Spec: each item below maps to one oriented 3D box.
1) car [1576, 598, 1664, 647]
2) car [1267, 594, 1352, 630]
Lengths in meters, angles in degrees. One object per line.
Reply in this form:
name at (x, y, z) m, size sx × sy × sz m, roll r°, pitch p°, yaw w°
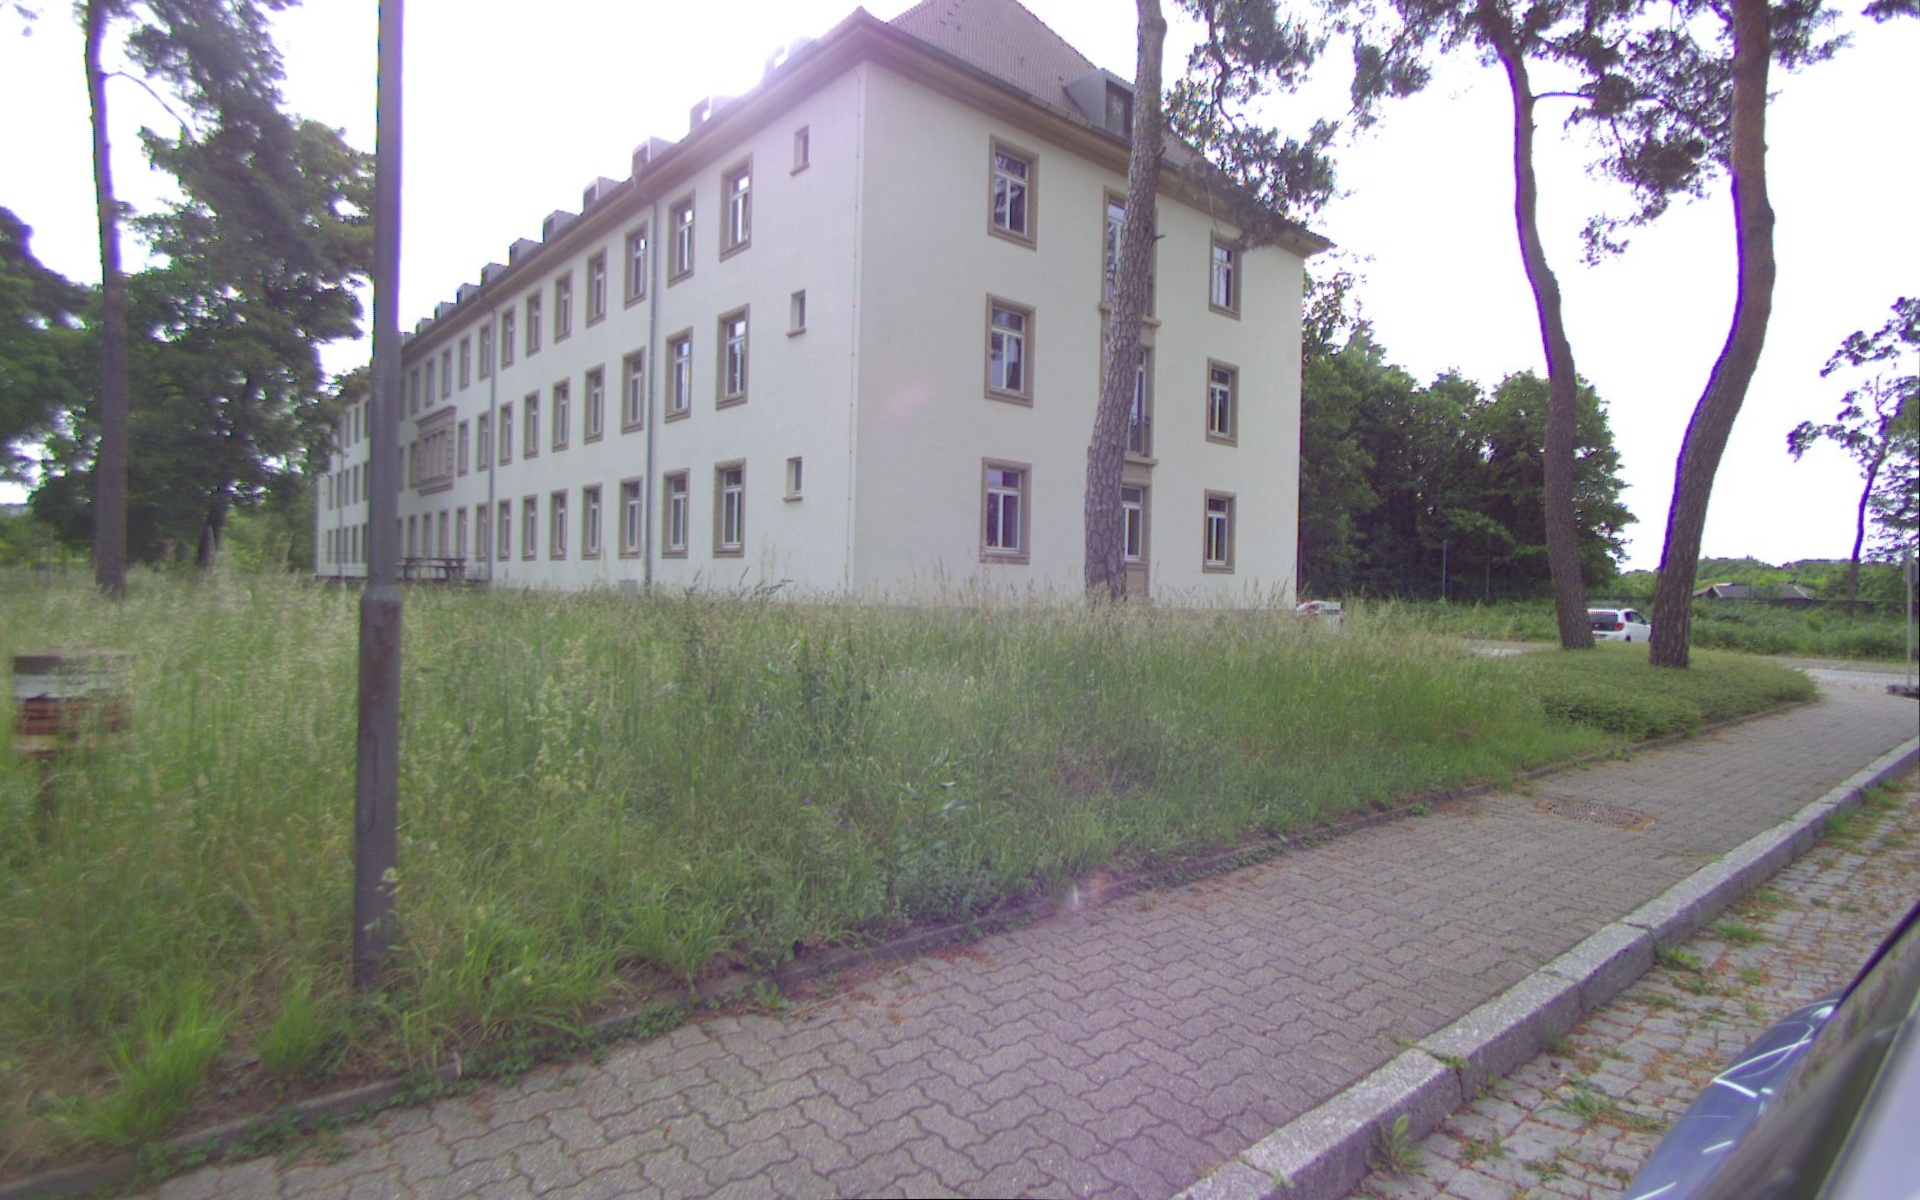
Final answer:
car at (22.131, 0.710, 33.894) m, size 3.221 × 1.452 × 1.640 m, roll -2°, pitch 3°, yaw -41°
car at (14.630, 0.469, 42.337) m, size 3.931 × 1.345 × 1.640 m, roll -2°, pitch 2°, yaw -41°
